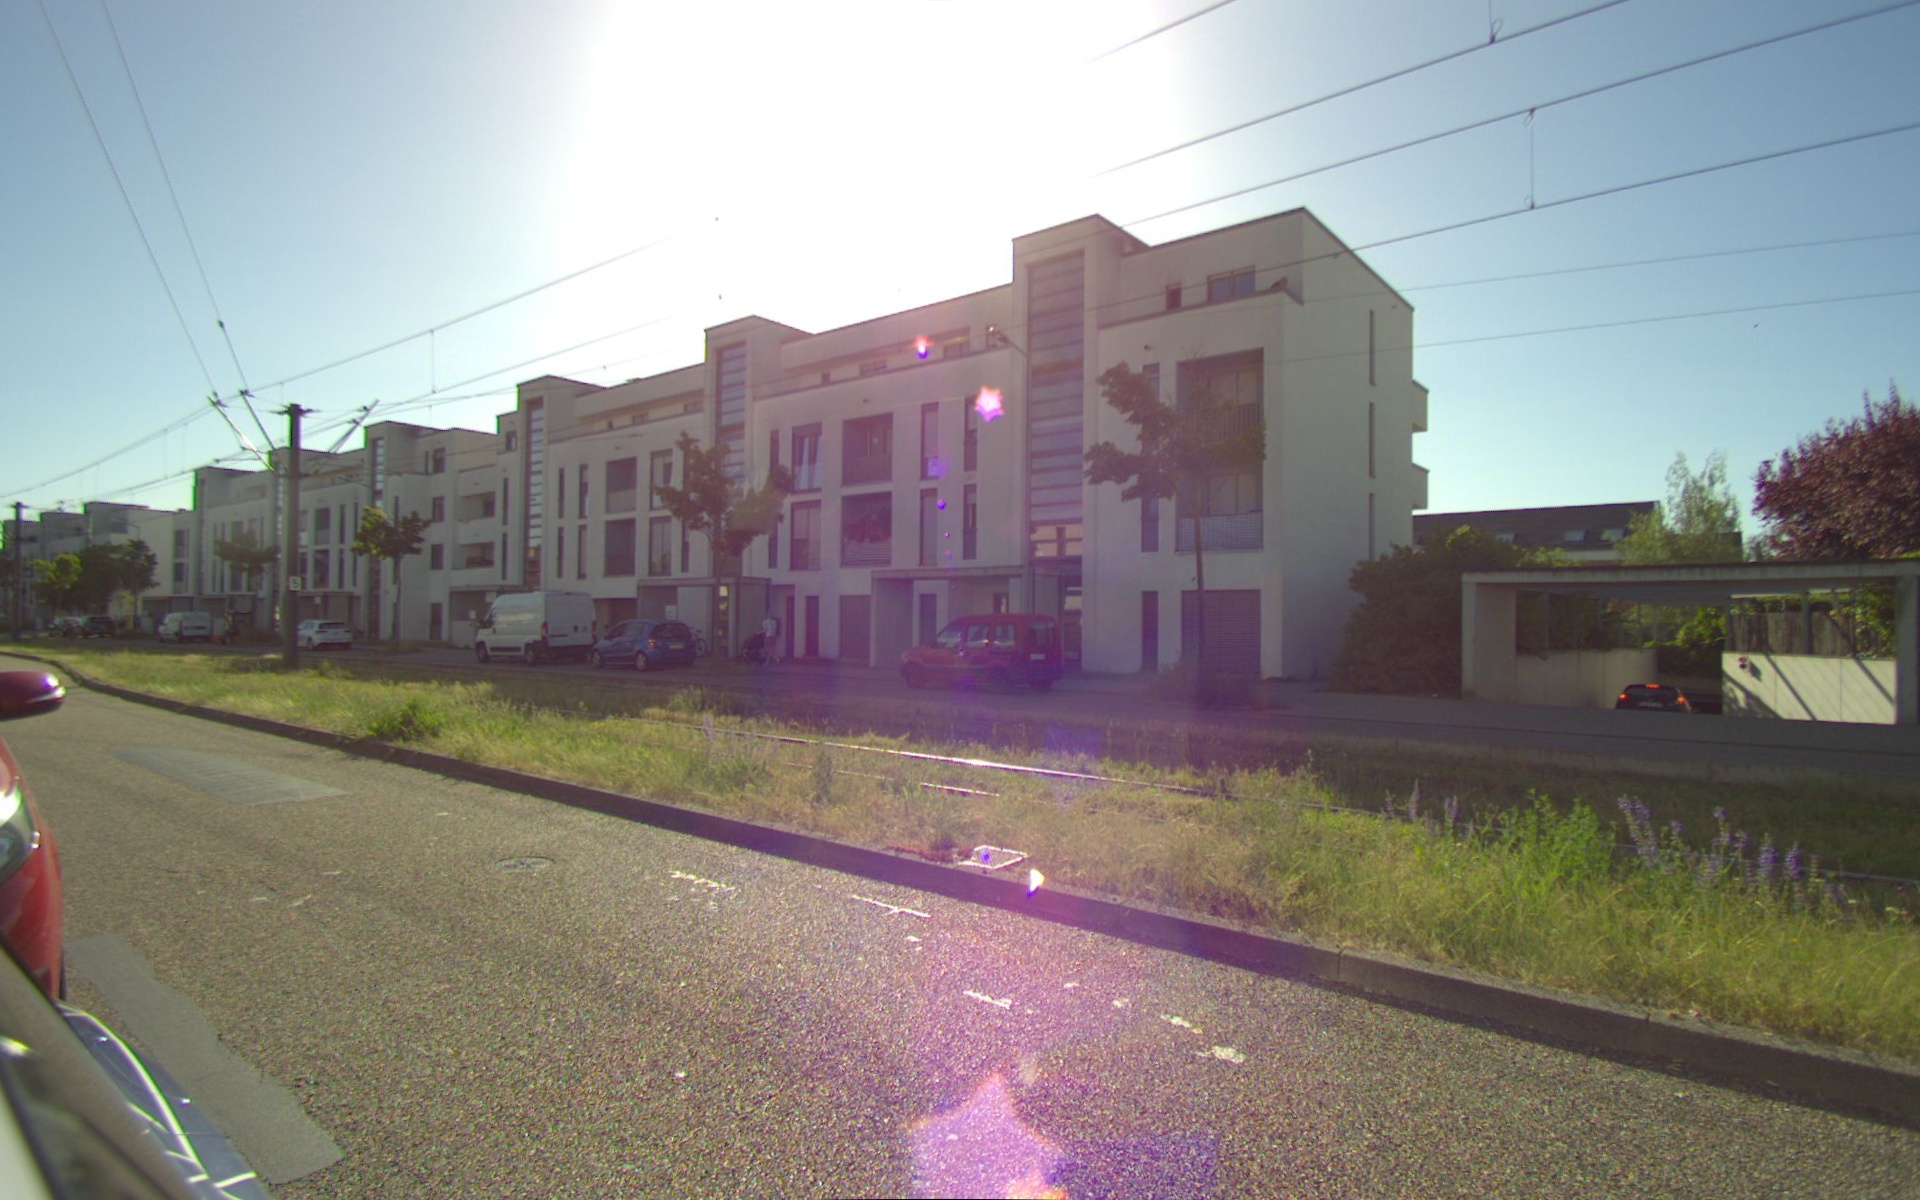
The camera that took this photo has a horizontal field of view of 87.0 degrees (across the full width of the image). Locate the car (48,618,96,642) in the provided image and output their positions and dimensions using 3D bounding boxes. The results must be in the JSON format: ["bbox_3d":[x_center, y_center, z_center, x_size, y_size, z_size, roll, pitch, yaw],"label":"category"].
[{"bbox_3d":[-67.531,2.256,76.933,4.277,1.693,1.900,-1,0,37],"label":"car"}]

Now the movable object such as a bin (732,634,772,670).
[{"bbox_3d":[-6.614,1.641,32.174,1.083,1.062,0.719,-1,0,42],"label":"movable object such as a bin"}]

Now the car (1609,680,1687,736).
[{"bbox_3d":[18.727,2.953,27.475,1.574,1.337,3.950,-1,-7,37],"label":"car"}]

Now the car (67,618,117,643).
[{"bbox_3d":[-62.986,2.165,73.408,4.277,1.693,1.900,-1,0,37],"label":"car"}]

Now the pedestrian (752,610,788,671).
[{"bbox_3d":[-5.920,1.247,31.544,0.785,1.836,0.766,-1,0,41],"label":"pedestrian"}]

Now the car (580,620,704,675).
[{"bbox_3d":[-10.007,1.450,31.746,3.833,1.556,1.973,-1,0,40],"label":"car"}]

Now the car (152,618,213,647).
[{"bbox_3d":[-47.364,1.963,61.629,4.277,1.693,1.900,-1,0,37],"label":"car"}]

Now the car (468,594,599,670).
[{"bbox_3d":[-15.202,1.077,35.950,5.193,2.491,2.197,-1,0,40],"label":"car"}]

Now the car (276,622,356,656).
[{"bbox_3d":[-31.143,1.840,48.904,4.277,1.517,1.900,-1,0,37],"label":"car"}]

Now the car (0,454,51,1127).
[{"bbox_3d":[-4.895,0.556,3.674,4.505,1.868,1.850,-1,0,41],"label":"car"}]

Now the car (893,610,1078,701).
[{"bbox_3d":[0.532,1.171,23.025,3.895,1.842,1.972,-1,0,43],"label":"car"}]
